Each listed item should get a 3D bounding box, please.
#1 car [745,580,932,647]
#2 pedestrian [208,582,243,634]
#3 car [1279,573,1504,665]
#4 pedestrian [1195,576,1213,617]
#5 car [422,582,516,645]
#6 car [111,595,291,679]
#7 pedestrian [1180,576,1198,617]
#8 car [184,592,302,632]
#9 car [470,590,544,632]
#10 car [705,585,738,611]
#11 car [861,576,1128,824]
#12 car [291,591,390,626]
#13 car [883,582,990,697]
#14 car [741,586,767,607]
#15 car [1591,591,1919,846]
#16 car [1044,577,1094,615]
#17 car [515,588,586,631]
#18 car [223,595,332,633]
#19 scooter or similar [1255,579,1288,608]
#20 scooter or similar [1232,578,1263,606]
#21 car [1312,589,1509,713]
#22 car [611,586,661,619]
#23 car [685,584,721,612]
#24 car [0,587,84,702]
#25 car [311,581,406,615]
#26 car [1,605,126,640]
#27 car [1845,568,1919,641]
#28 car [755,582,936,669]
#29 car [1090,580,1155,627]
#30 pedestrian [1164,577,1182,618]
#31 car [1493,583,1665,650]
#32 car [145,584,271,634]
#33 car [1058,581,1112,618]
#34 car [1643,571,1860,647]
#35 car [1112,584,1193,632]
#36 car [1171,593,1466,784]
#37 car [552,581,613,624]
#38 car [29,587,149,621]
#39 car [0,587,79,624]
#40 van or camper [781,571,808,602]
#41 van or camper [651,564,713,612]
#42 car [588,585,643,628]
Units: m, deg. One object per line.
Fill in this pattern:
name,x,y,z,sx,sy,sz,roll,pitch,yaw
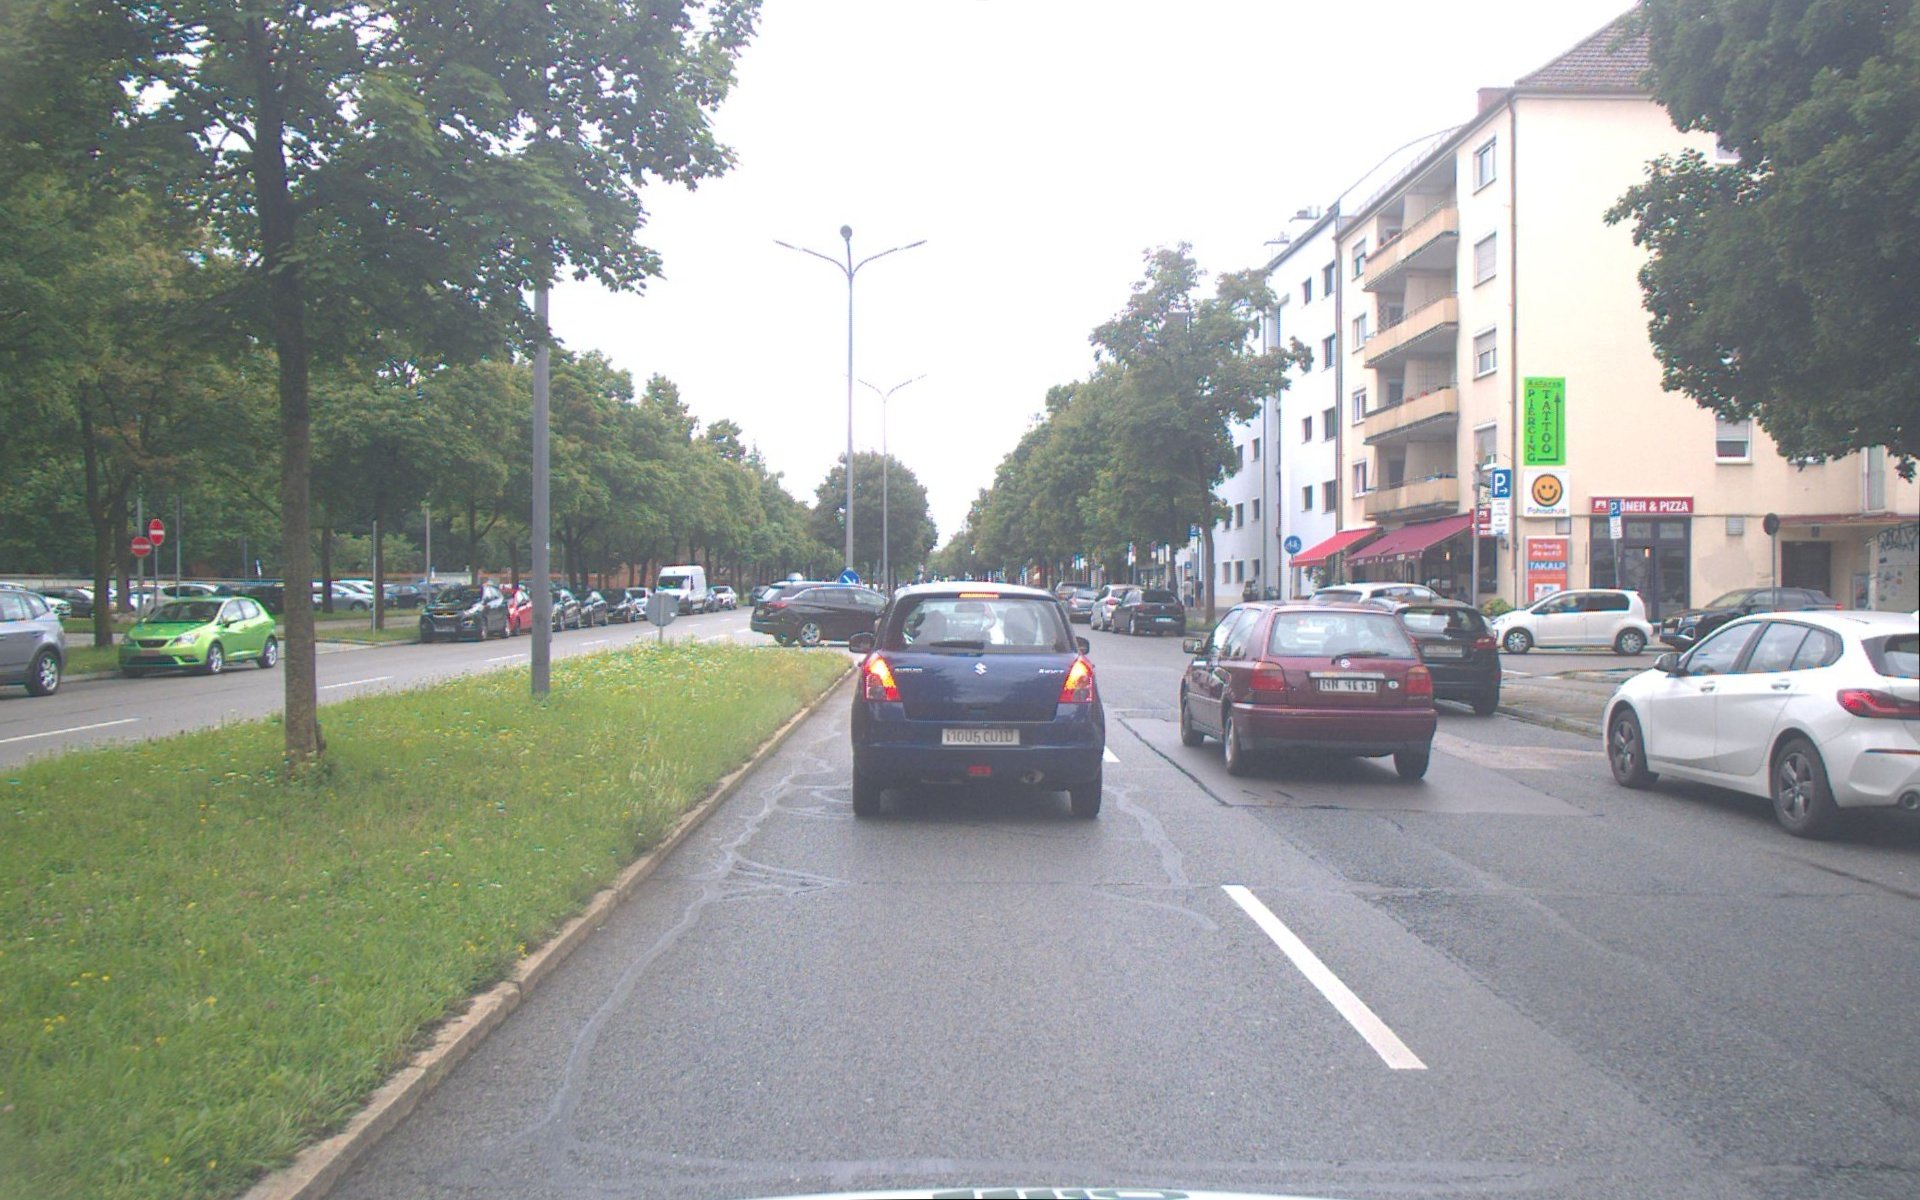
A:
car,-2.876,0.289,39.031,4.065,1.494,1.827,0,1,-23
pedestrian,-22.313,0.237,50.272,0.712,1.560,0.721,1,0,0
car,8.525,0.363,32.563,4.352,1.690,1.850,1,1,-33
pedestrian,12.401,-0.175,84.046,0.778,2.049,1.006,0,0,0
car,-14.460,0.381,48.873,1.682,1.771,3.878,1,0,-1
car,-14.452,0.661,31.717,1.515,1.434,3.880,-2,1,2
pedestrian,11.604,-0.185,83.887,0.778,2.049,1.006,0,0,0
car,-27.554,0.453,63.642,3.792,1.471,1.670,1,0,-6
car,-14.868,0.346,54.438,1.558,1.335,3.380,1,0,-1
car,-15.204,-0.145,105.594,1.599,1.610,3.878,1,0,-1
car,0.163,0.596,12.203,1.648,1.528,3.918,0,1,-2
car,-27.459,0.366,73.439,3.792,1.471,1.670,1,0,-6
car,-0.353,0.506,23.486,1.415,1.509,3.105,0,1,-2
car,-16.076,-0.285,129.017,1.599,1.610,3.878,1,0,-1
car,6.249,0.726,11.970,1.648,1.491,4.136,2,1,-1
car,4.940,-0.207,75.546,1.828,1.712,4.223,0,1,-2
car,-14.605,0.325,59.179,1.633,1.471,3.878,1,0,-1
car,-28.029,0.563,67.976,3.792,1.471,1.670,1,0,-6
scooter or similar,14.229,-0.303,75.619,1.011,1.330,2.755,0,1,0
scooter or similar,13.826,-0.408,79.492,1.011,1.330,2.755,0,1,0
car,5.986,0.623,22.390,1.584,1.491,3.674,2,0,-1
car,-14.908,0.105,76.327,1.599,1.456,3.878,1,0,-1
car,-15.273,-0.103,98.382,1.599,1.610,3.878,1,0,-1
car,-14.365,0.659,23.385,1.656,1.614,4.370,-2,1,-1
car,-27.838,-0.091,76.592,3.792,1.471,1.670,1,0,-6
car,-39.670,0.993,73.265,4.595,1.471,1.673,1,0,0
car,23.768,0.066,39.484,4.306,1.690,1.870,-1,0,-4
car,-2.181,0.423,30.706,1.669,1.488,3.686,0,1,-36
car,5.672,0.094,58.079,1.755,1.585,4.223,0,1,-1
pedestrian,10.792,-0.122,83.906,0.778,2.049,1.006,0,0,0
car,14.000,0.359,37.589,3.472,1.442,1.873,0,1,14
car,-27.631,0.327,60.868,3.843,1.748,1.670,1,0,-6
car,5.309,-0.051,70.930,1.828,1.544,4.223,-1,1,-2
car,18.791,0.189,39.359,4.307,1.690,1.870,-1,0,-5
car,6.118,0.234,52.910,1.829,1.442,4.221,-1,1,-4
car,2.982,0.666,14.565,1.648,1.408,3.918,1,0,-1
car,-14.721,0.082,64.617,1.558,1.585,3.878,1,0,-1
car,-40.015,0.195,76.040,4.595,1.471,1.673,1,0,0
car,-39.603,0.214,69.288,4.414,1.502,1.672,1,0,0
van or camper,-18.700,-1.541,187.197,2.509,3.353,6.935,1,0,-1
van or camper,-15.140,-0.649,90.504,2.073,2.525,7.449,1,0,0
car,-14.755,0.280,70.994,1.599,1.771,3.878,1,0,-1
